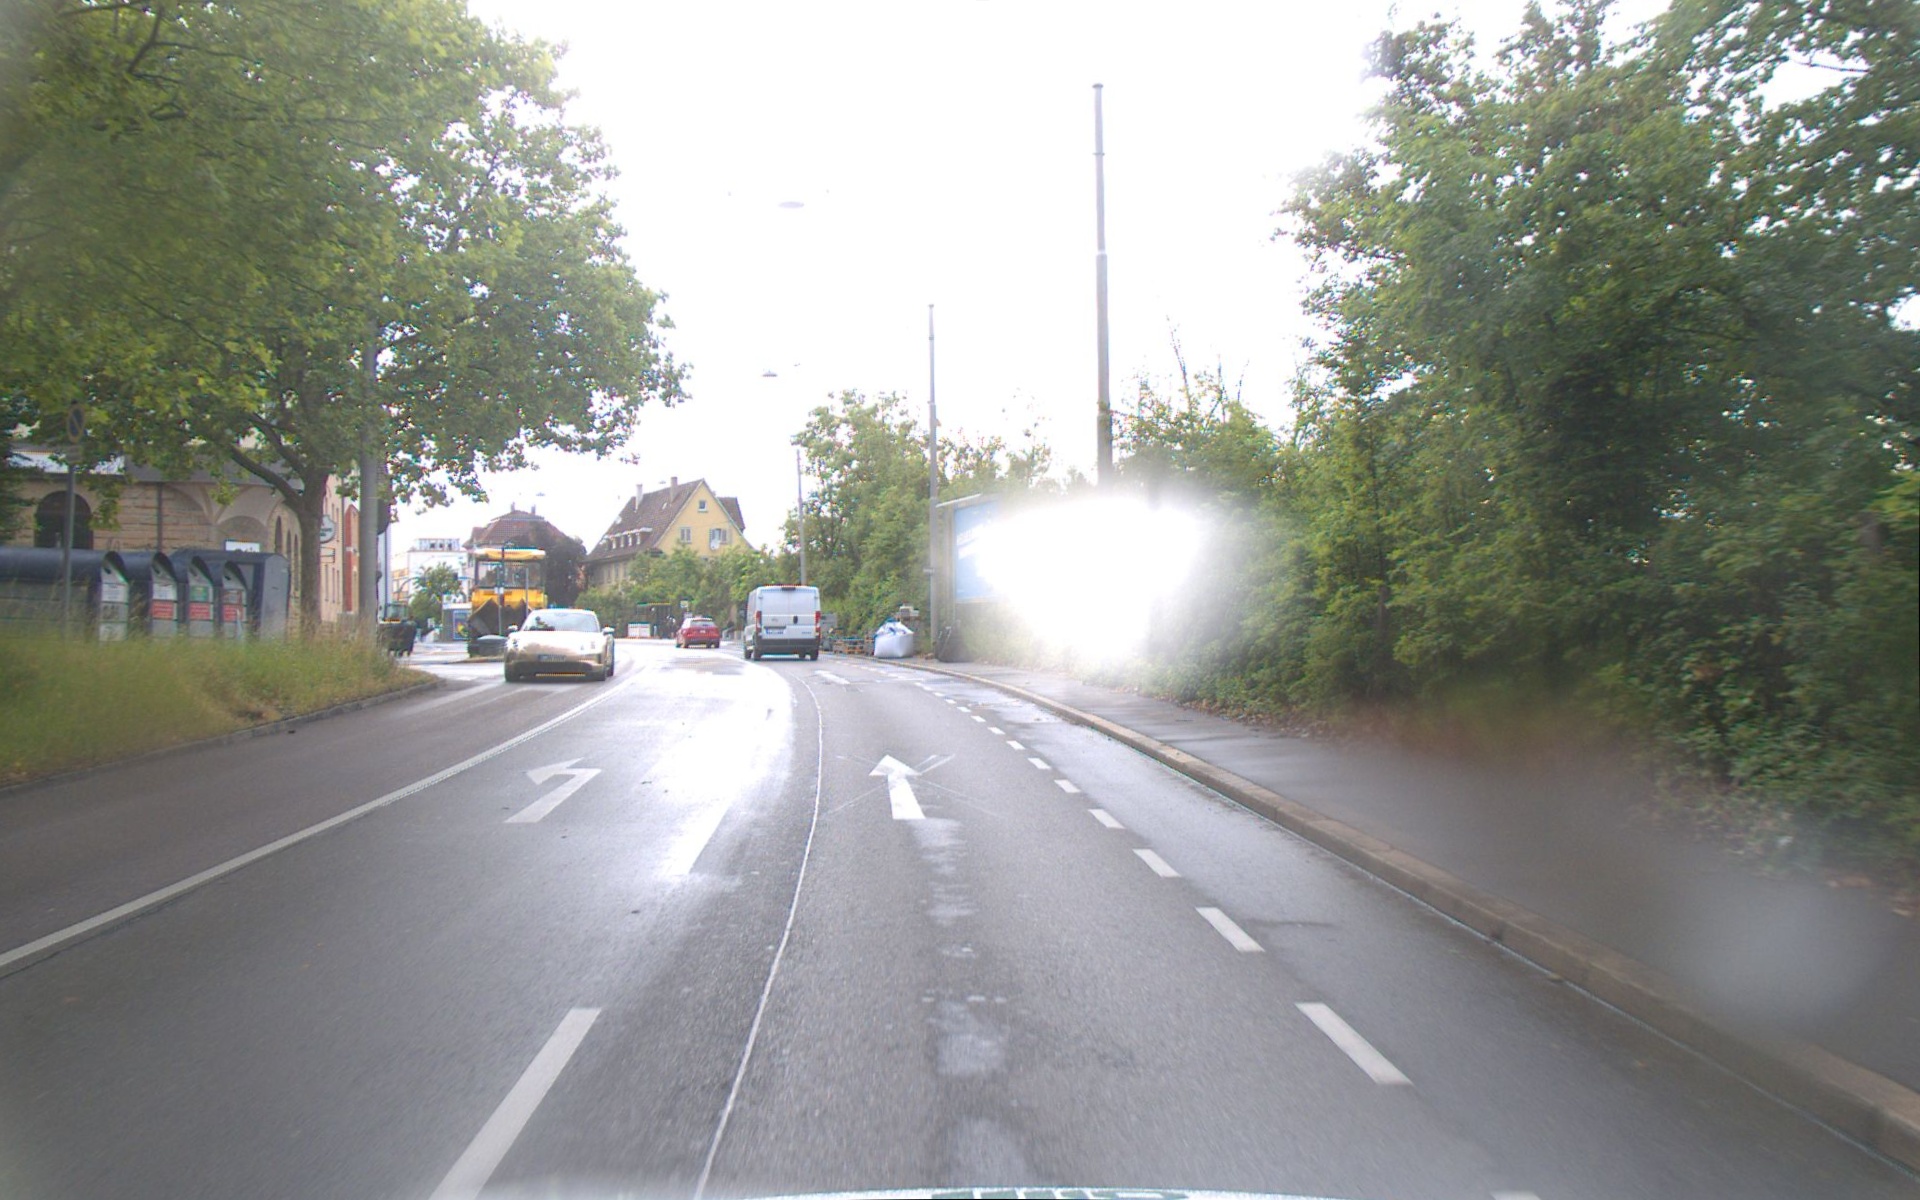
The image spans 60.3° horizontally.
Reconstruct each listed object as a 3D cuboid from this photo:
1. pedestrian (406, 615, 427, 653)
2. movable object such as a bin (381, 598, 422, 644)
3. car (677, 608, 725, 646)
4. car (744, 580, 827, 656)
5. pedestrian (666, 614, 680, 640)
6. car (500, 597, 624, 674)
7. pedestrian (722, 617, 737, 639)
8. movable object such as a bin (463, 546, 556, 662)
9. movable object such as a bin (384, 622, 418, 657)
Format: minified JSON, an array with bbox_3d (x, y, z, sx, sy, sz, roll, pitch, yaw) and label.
[{"bbox_3d":[-23.593,1.486,71.809,0.751,1.616,1.088,1,0,-12],"label":"pedestrian"},{"bbox_3d":[-34.977,1.296,103.704,1.960,2.730,4.611,1,1,-14],"label":"movable object such as a bin"},{"bbox_3d":[-12.669,1.294,80.776,2.197,1.685,4.702,1,1,-10],"label":"car"},{"bbox_3d":[-5.556,0.530,52.246,2.197,2.252,4.701,1,1,-11],"label":"car"},{"bbox_3d":[-20.108,1.874,115.825,0.890,1.761,0.651,1,0,-13],"label":"pedestrian"},{"bbox_3d":[-8.047,0.684,33.830,2.032,1.376,4.704,1,1,-9],"label":"car"},{"bbox_3d":[-15.044,1.857,108.150,0.864,1.391,1.062,1,0,-13],"label":"pedestrian"},{"bbox_3d":[-16.088,0.093,59.410,2.725,3.923,5.971,1,1,-11],"label":"movable object such as a bin"},{"bbox_3d":[-20.299,1.426,60.046,0.882,1.243,1.191,1,1,-33],"label":"movable object such as a bin"}]
